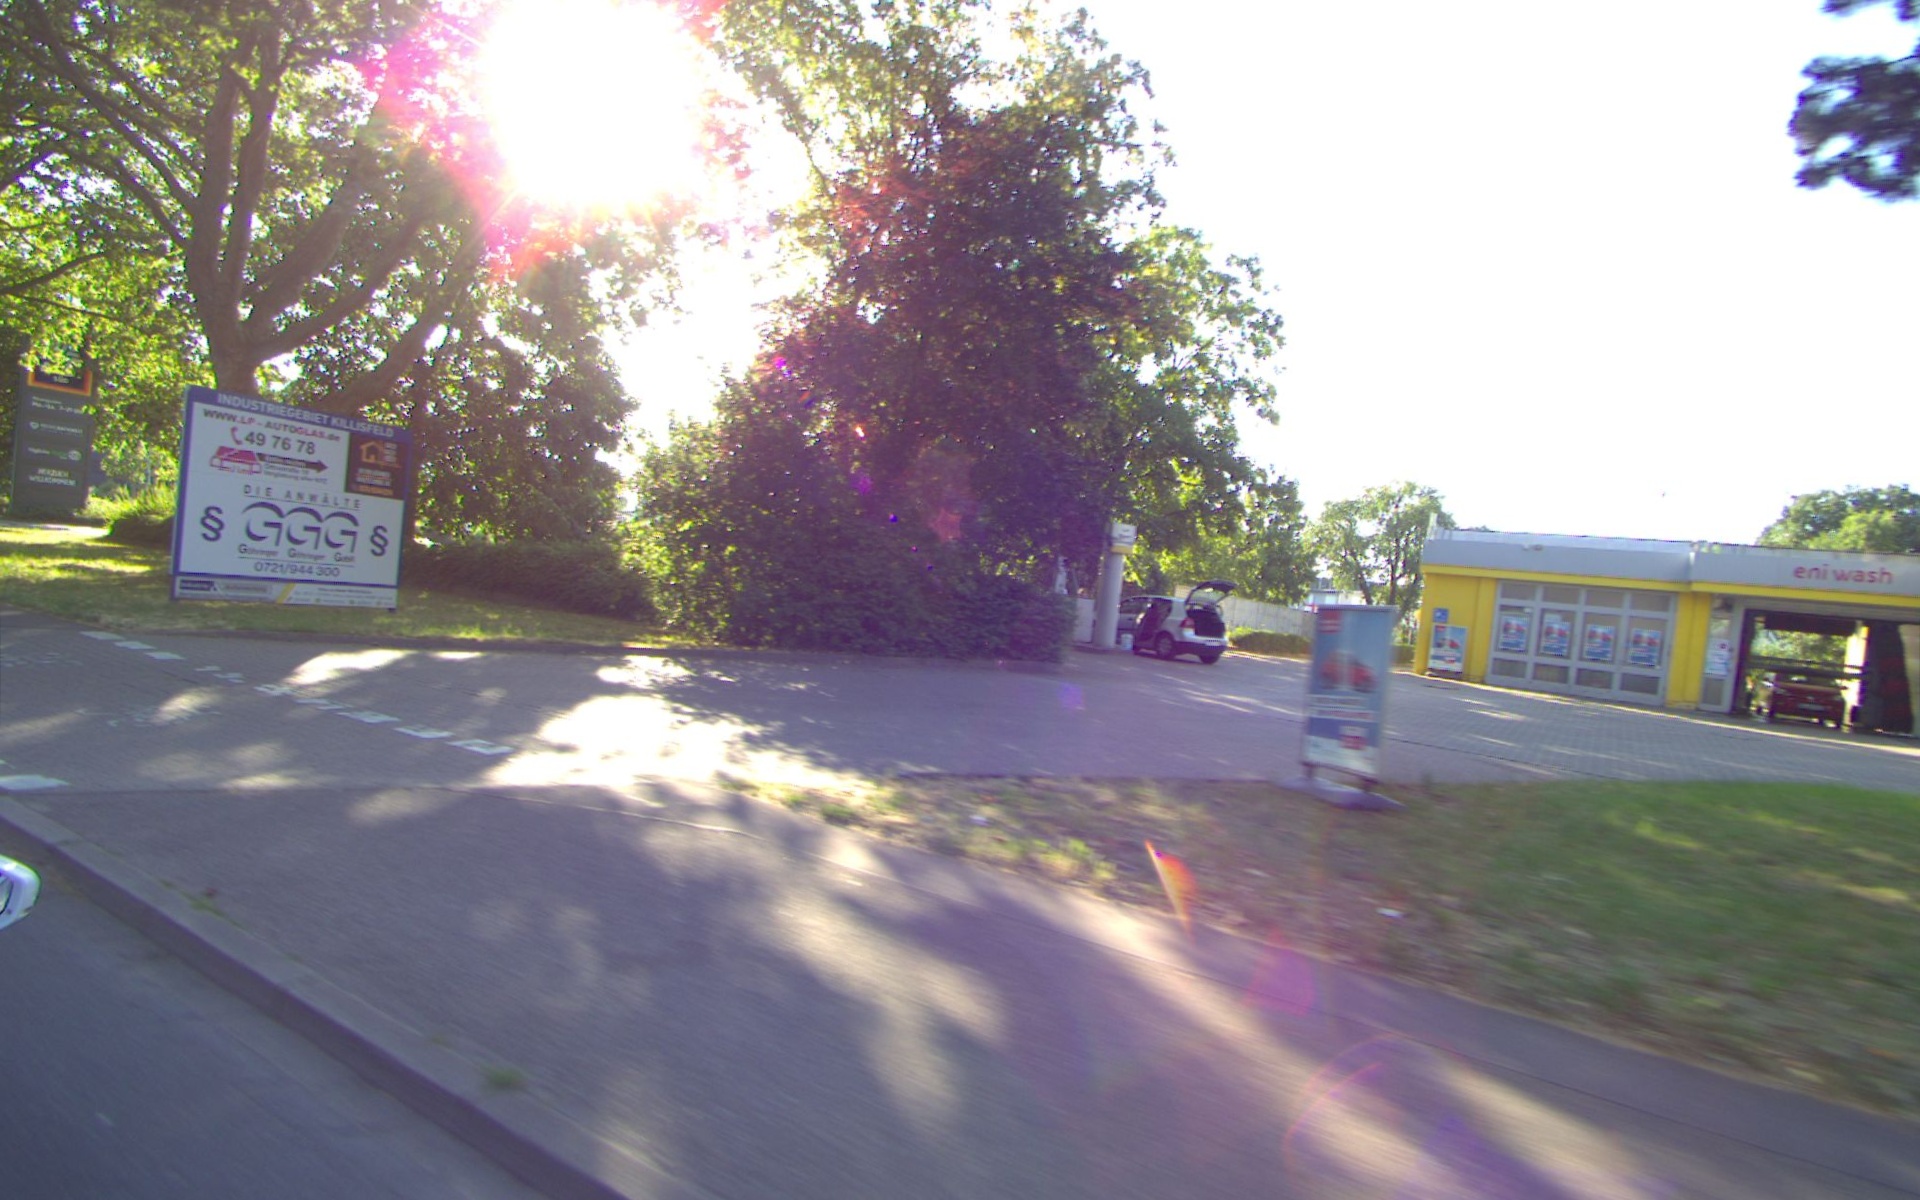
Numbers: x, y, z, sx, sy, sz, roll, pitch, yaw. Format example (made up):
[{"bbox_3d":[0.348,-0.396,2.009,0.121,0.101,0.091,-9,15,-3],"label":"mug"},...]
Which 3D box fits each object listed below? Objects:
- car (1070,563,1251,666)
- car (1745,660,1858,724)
[{"bbox_3d":[4.822,0.317,24.709,1.839,1.963,3.956,4,4,-37],"label":"car"},{"bbox_3d":[23.270,2.486,27.966,1.857,1.390,3.987,6,1,34],"label":"car"}]
